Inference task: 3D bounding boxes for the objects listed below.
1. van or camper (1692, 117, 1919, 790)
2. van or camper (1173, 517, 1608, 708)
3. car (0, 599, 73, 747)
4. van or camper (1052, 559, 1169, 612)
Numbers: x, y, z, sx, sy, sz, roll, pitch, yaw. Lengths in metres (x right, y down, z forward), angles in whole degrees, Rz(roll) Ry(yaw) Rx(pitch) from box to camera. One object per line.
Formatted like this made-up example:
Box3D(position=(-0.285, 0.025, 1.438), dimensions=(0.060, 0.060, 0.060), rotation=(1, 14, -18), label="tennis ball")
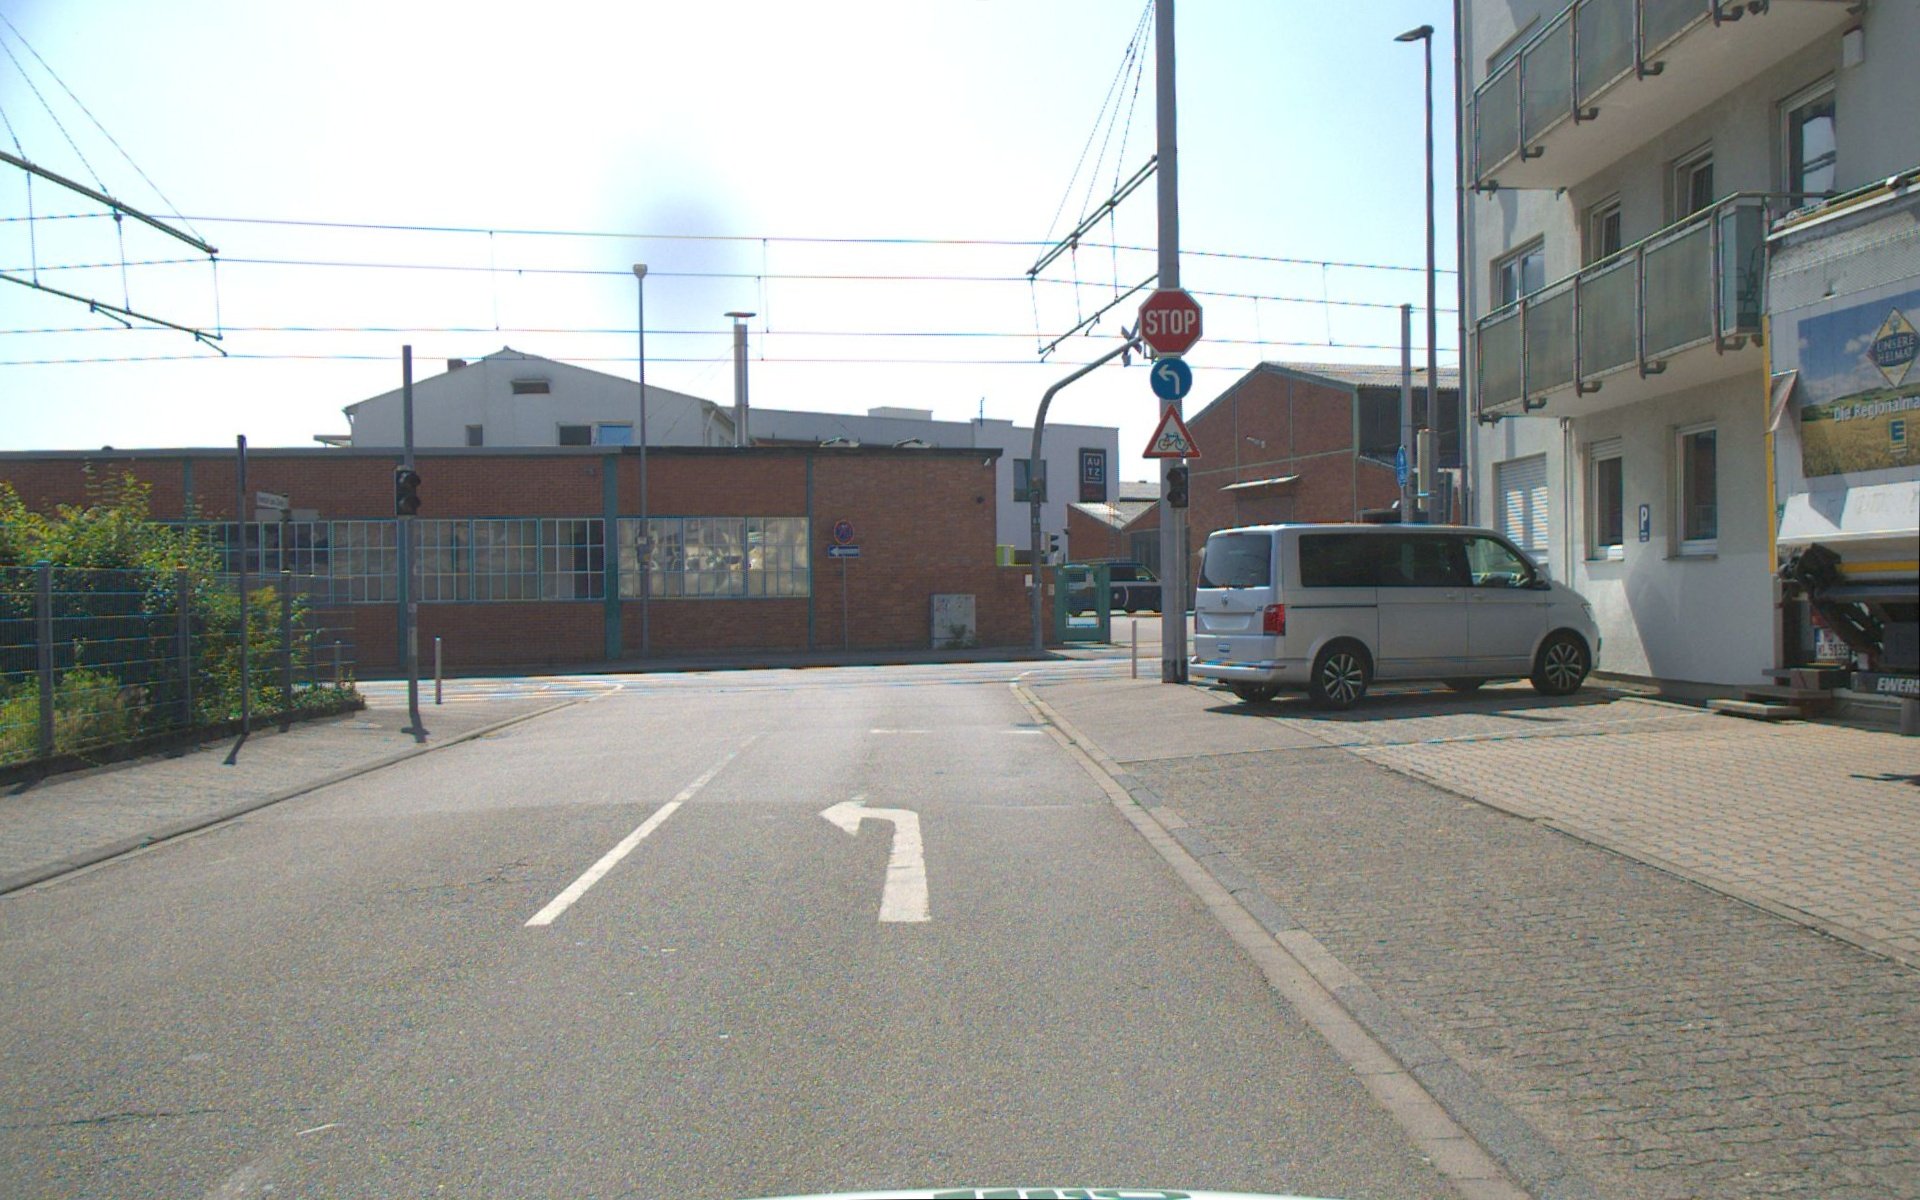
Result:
Box3D(position=(10.898, -1.037, 10.857), dimensions=(11.385, 3.757, 2.775), rotation=(-2, 0, -9), label="van or camper")
Box3D(position=(4.858, 0.081, 18.696), dimensions=(4.478, 1.941, 1.987), rotation=(-1, 0, -22), label="van or camper")
Box3D(position=(-11.976, 0.810, 17.820), dimensions=(3.818, 1.538, 1.804), rotation=(-1, 0, -4), label="car")
Box3D(position=(5.851, -0.535, 64.089), dimensions=(4.376, 1.933, 1.973), rotation=(1, -1, -38), label="van or camper")
